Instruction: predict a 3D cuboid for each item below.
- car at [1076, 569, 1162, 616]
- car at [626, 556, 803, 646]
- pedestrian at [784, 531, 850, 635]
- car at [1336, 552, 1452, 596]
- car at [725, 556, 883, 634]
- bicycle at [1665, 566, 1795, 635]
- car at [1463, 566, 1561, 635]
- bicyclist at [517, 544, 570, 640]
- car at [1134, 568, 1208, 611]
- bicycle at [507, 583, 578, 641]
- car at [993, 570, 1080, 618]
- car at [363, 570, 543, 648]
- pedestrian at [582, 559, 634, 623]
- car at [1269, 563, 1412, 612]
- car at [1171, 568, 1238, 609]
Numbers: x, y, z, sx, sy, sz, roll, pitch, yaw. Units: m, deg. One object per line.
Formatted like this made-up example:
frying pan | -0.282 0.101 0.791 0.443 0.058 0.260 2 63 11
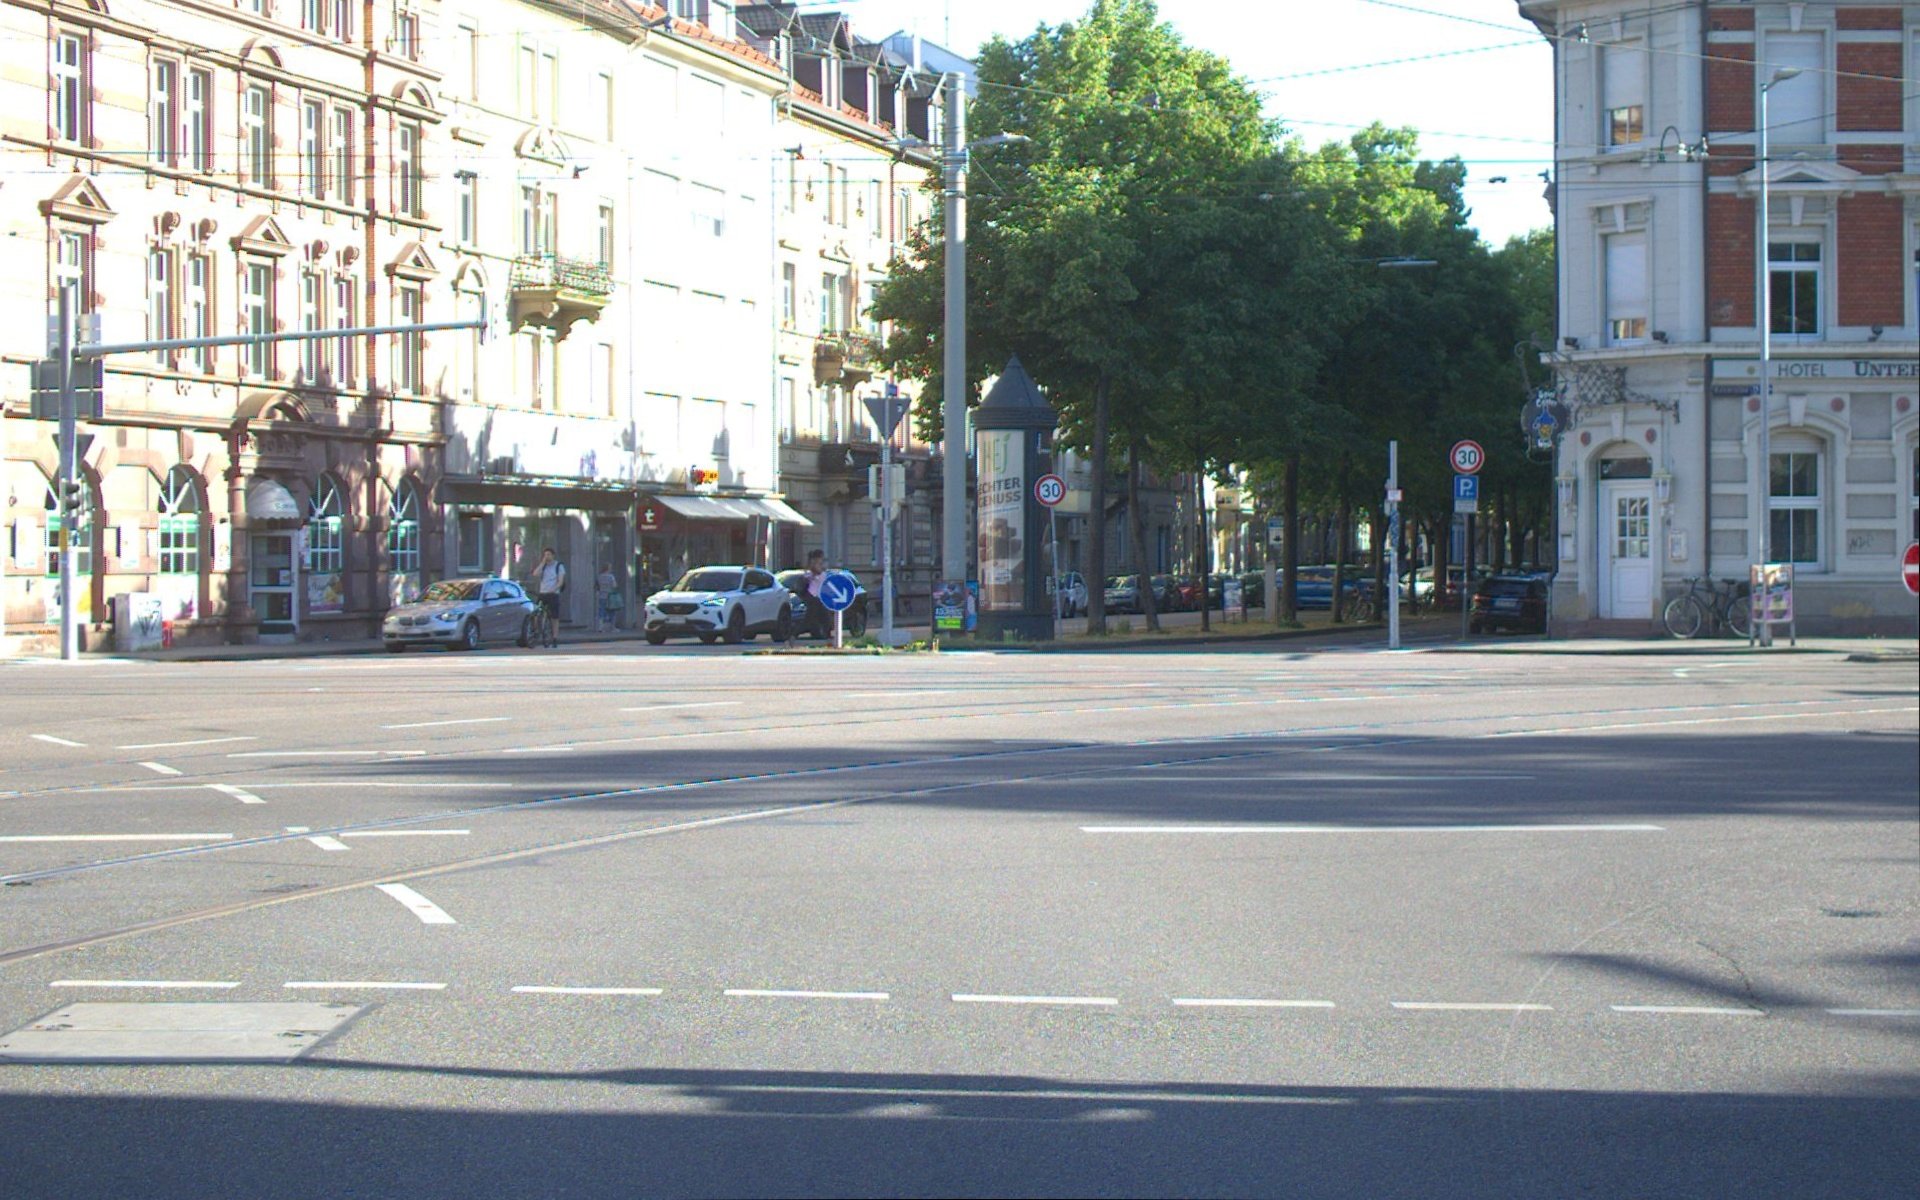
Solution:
car | 5.706 -0.294 122.681 1.995 1.607 4.387 0 1 17
car | -4.762 -0.014 67.341 1.995 1.678 4.387 0 1 17
pedestrian | -2.427 -0.298 58.185 1.046 1.738 0.809 0 1 -8
car | 16.861 -1.009 133.641 3.993 1.700 1.997 0 1 30
car | -3.316 -0.132 73.854 1.995 1.606 4.387 0 1 17
bicycle | 12.859 0.012 57.406 2.085 1.120 0.367 1 0 -4
car | 13.271 -0.008 82.458 1.995 1.579 3.998 0 1 14
bicyclist | -7.876 -0.159 65.063 0.679 1.814 1.070 0 1 12
car | 8.033 -0.413 130.471 1.839 1.547 4.387 0 1 17
bicycle | -7.886 0.220 65.027 0.680 1.062 2.124 0 1 12
car | 2.487 -0.218 110.979 1.995 1.481 3.998 0 1 14
car | -9.850 0.152 67.066 1.900 1.450 3.997 0 1 17
pedestrian | -8.509 -0.225 83.190 0.929 1.530 1.136 0 1 14
car | 12.781 -0.436 115.469 4.382 1.606 1.997 0 1 27
car | 9.699 -0.462 136.348 1.766 1.544 4.387 0 1 16
